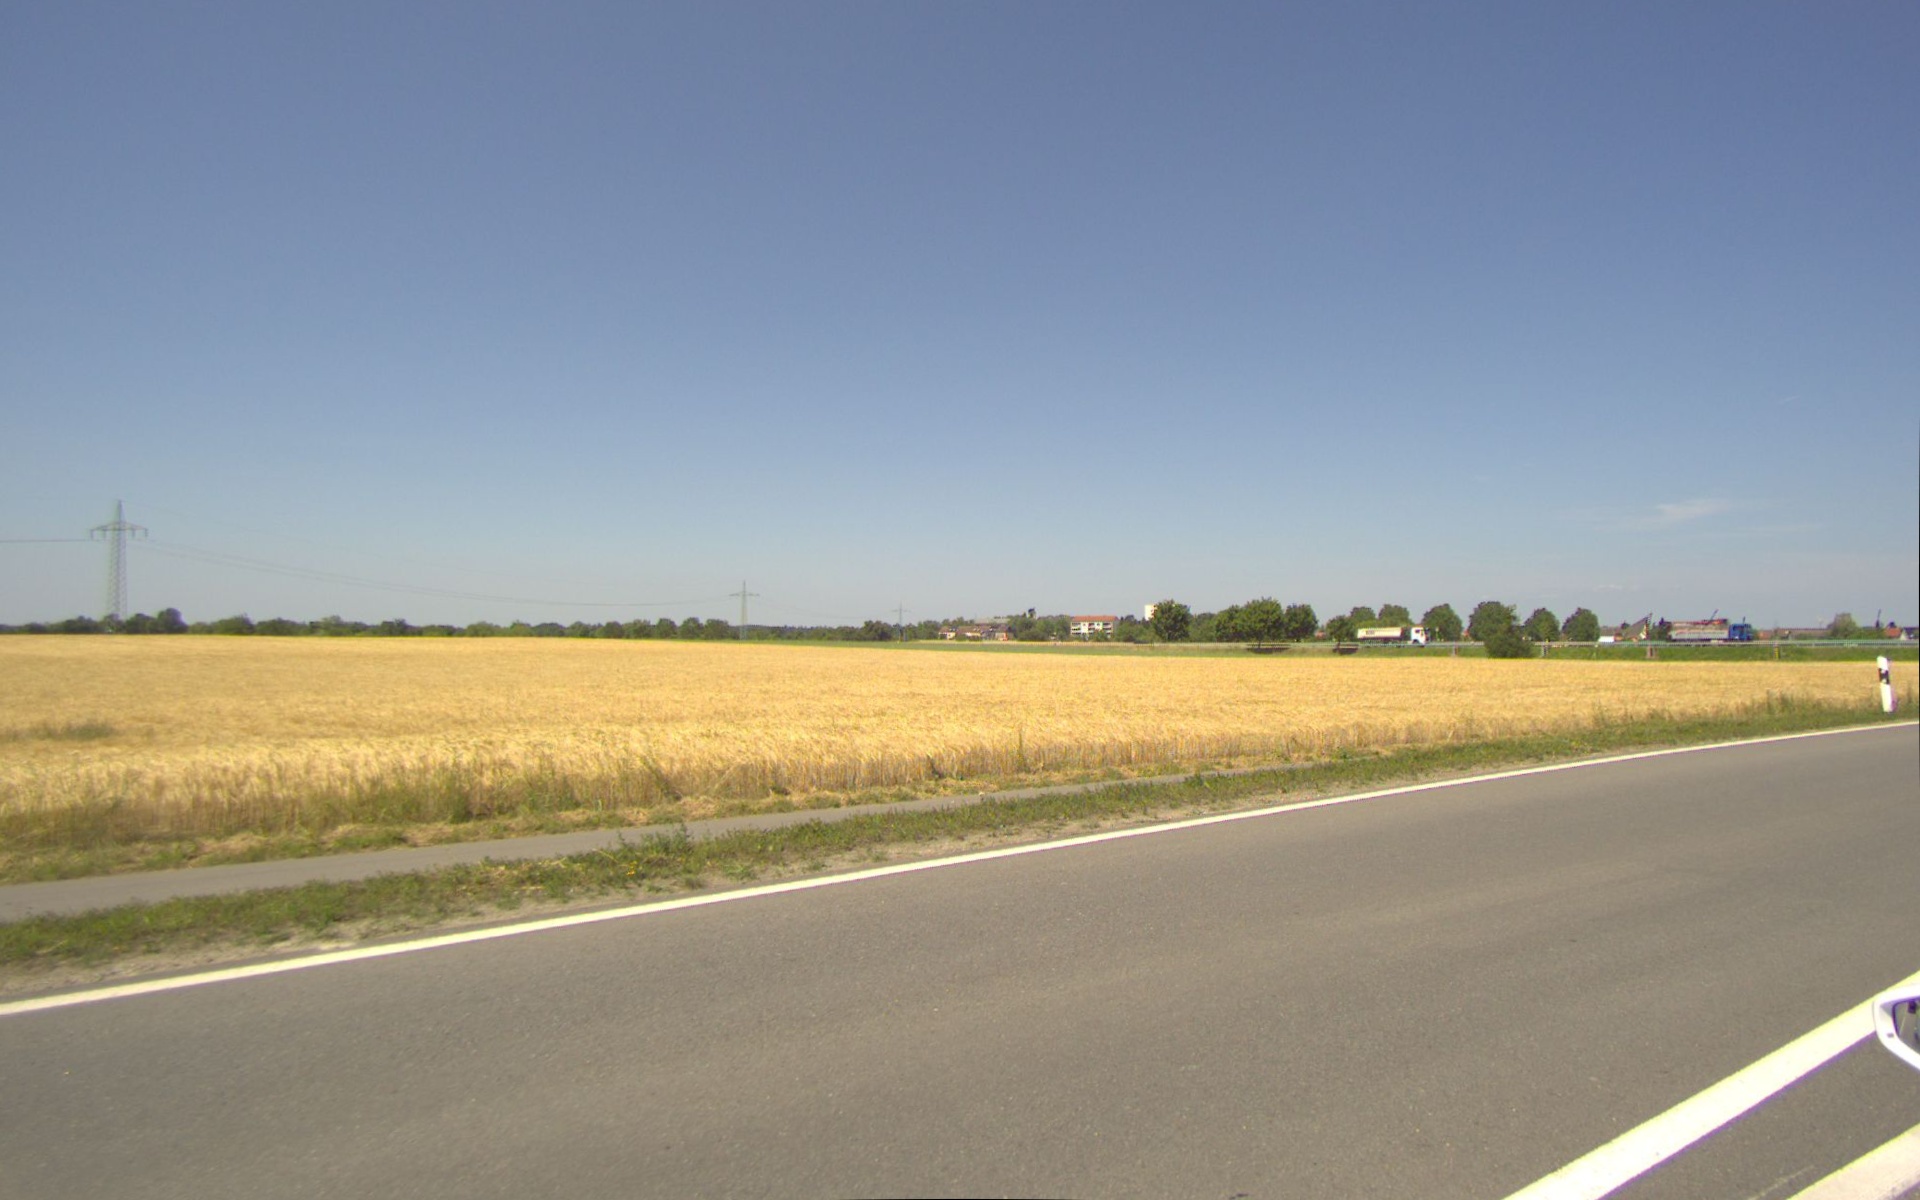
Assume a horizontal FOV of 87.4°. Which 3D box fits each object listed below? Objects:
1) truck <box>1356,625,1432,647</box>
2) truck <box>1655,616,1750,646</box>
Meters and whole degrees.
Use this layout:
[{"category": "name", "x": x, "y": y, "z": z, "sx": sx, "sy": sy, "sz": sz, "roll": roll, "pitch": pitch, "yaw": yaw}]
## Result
[{"category": "truck", "x": 73.986, "y": 6.066, "z": 171.486, "sx": 2.962, "sy": 3.662, "sz": 11.873, "roll": 1, "pitch": -1, "yaw": -44}, {"category": "truck", "x": 99.331, "y": 4.036, "z": 134.634, "sx": 2.599, "sy": 3.844, "sz": 10.016, "roll": 1, "pitch": -1, "yaw": -34}]
